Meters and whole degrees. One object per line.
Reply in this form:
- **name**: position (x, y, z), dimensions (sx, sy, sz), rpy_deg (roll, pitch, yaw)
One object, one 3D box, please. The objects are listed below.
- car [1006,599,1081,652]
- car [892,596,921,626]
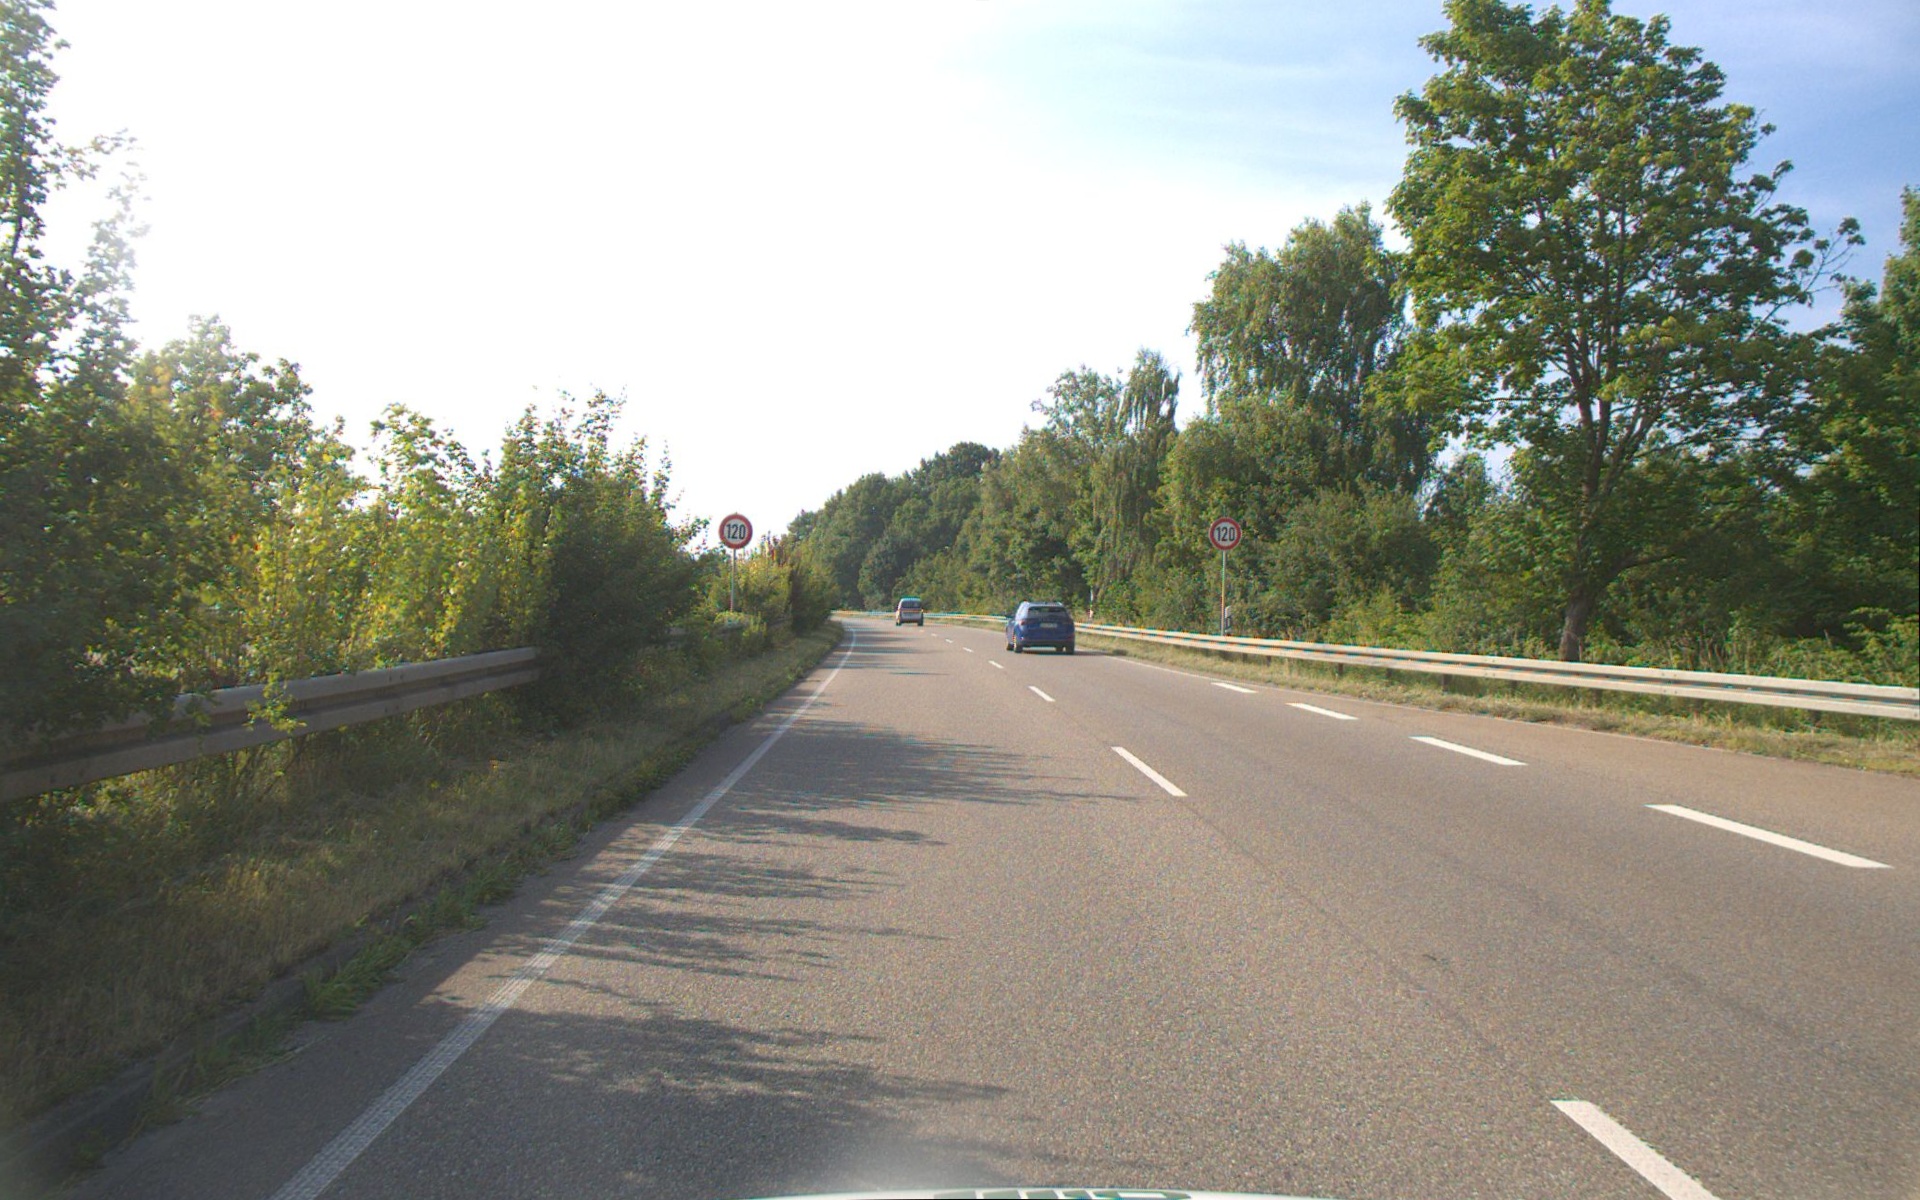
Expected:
- **car**: position (2.400, 0.720, 48.461), dimensions (1.744, 1.477, 3.997), rpy_deg (0, 0, -4)
- **car**: position (-3.621, 0.720, 111.427), dimensions (1.731, 1.914, 3.996), rpy_deg (0, 0, -5)
